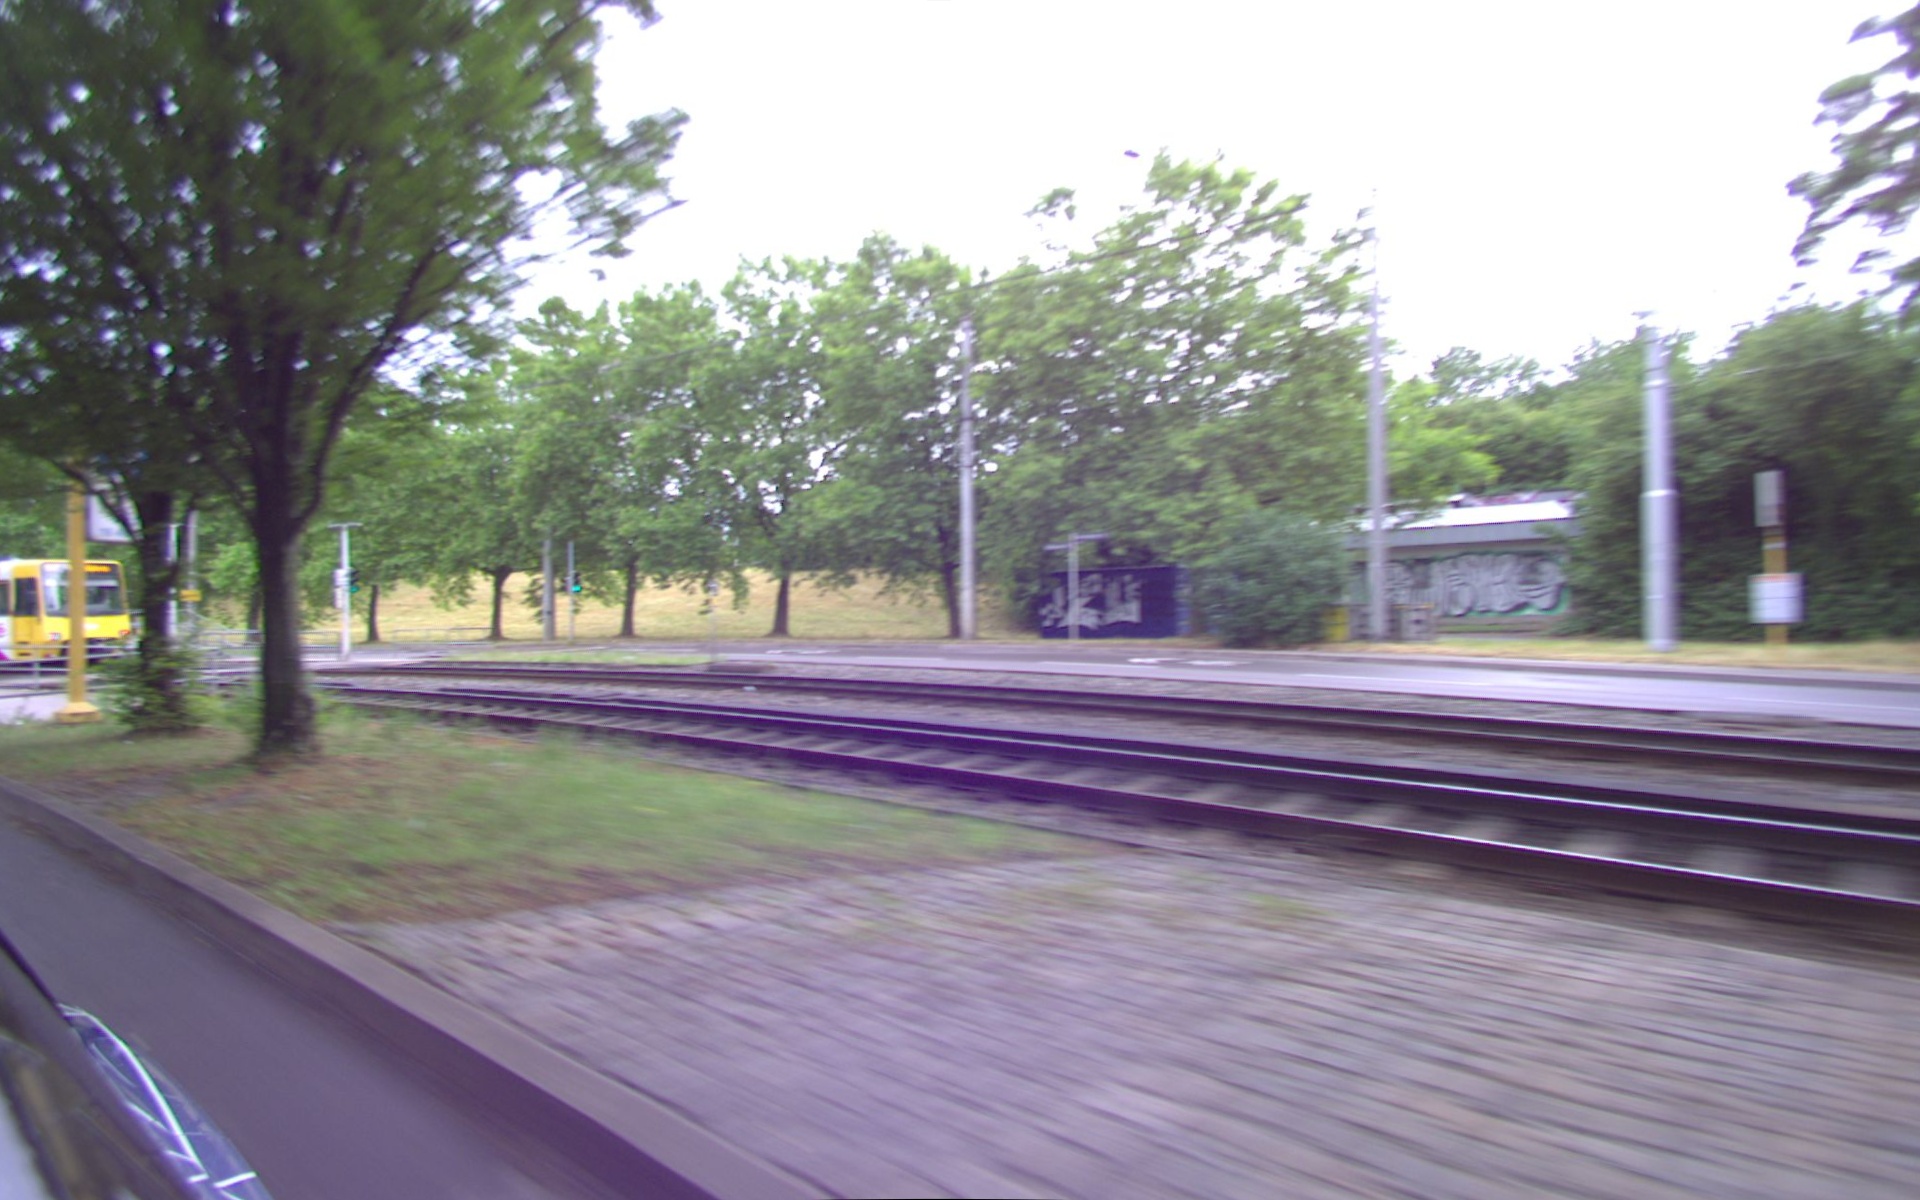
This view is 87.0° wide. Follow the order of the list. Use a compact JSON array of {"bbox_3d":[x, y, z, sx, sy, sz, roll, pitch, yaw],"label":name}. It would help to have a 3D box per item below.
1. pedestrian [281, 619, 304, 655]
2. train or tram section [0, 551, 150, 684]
[{"bbox_3d":[-34.475,1.916,52.253,0.761,1.834,0.723,-2,0,33],"label":"pedestrian"},{"bbox_3d":[-35.892,0.613,34.742,19.179,3.990,2.859,-1,2,19],"label":"train or tram section"}]
